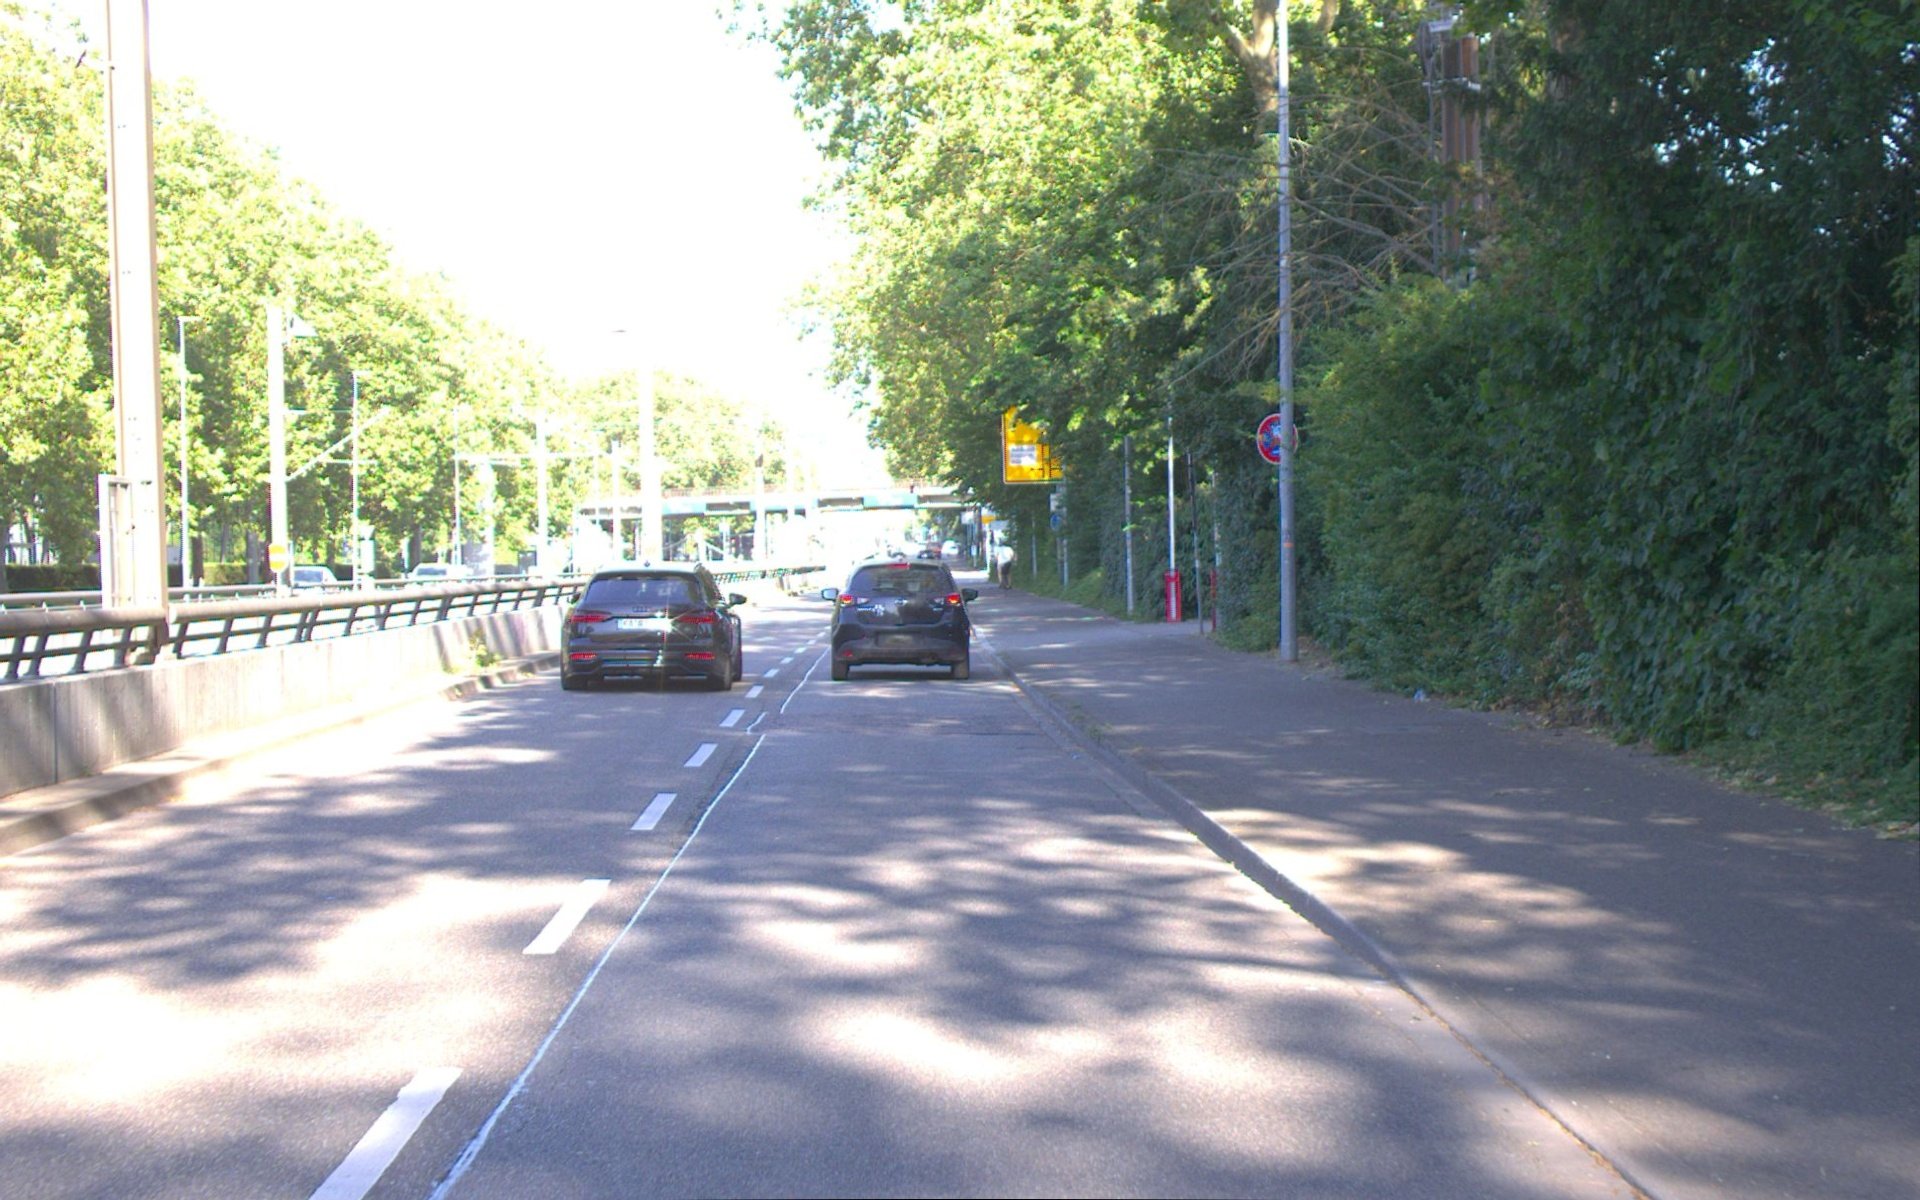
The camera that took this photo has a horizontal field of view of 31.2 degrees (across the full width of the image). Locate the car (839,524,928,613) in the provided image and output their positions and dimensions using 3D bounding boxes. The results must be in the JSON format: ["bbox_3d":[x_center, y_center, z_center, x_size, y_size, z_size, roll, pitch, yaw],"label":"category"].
[{"bbox_3d":[-1.803,-0.770,81.801,1.993,2.007,4.000,-1,1,0],"label":"car"}]

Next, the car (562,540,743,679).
[{"bbox_3d":[-3.421,0.073,38.765,1.878,1.452,3.357,1,1,-3],"label":"car"}]

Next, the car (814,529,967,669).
[{"bbox_3d":[-0.909,-0.057,42.874,1.762,1.613,4.001,-1,1,-3],"label":"car"}]
